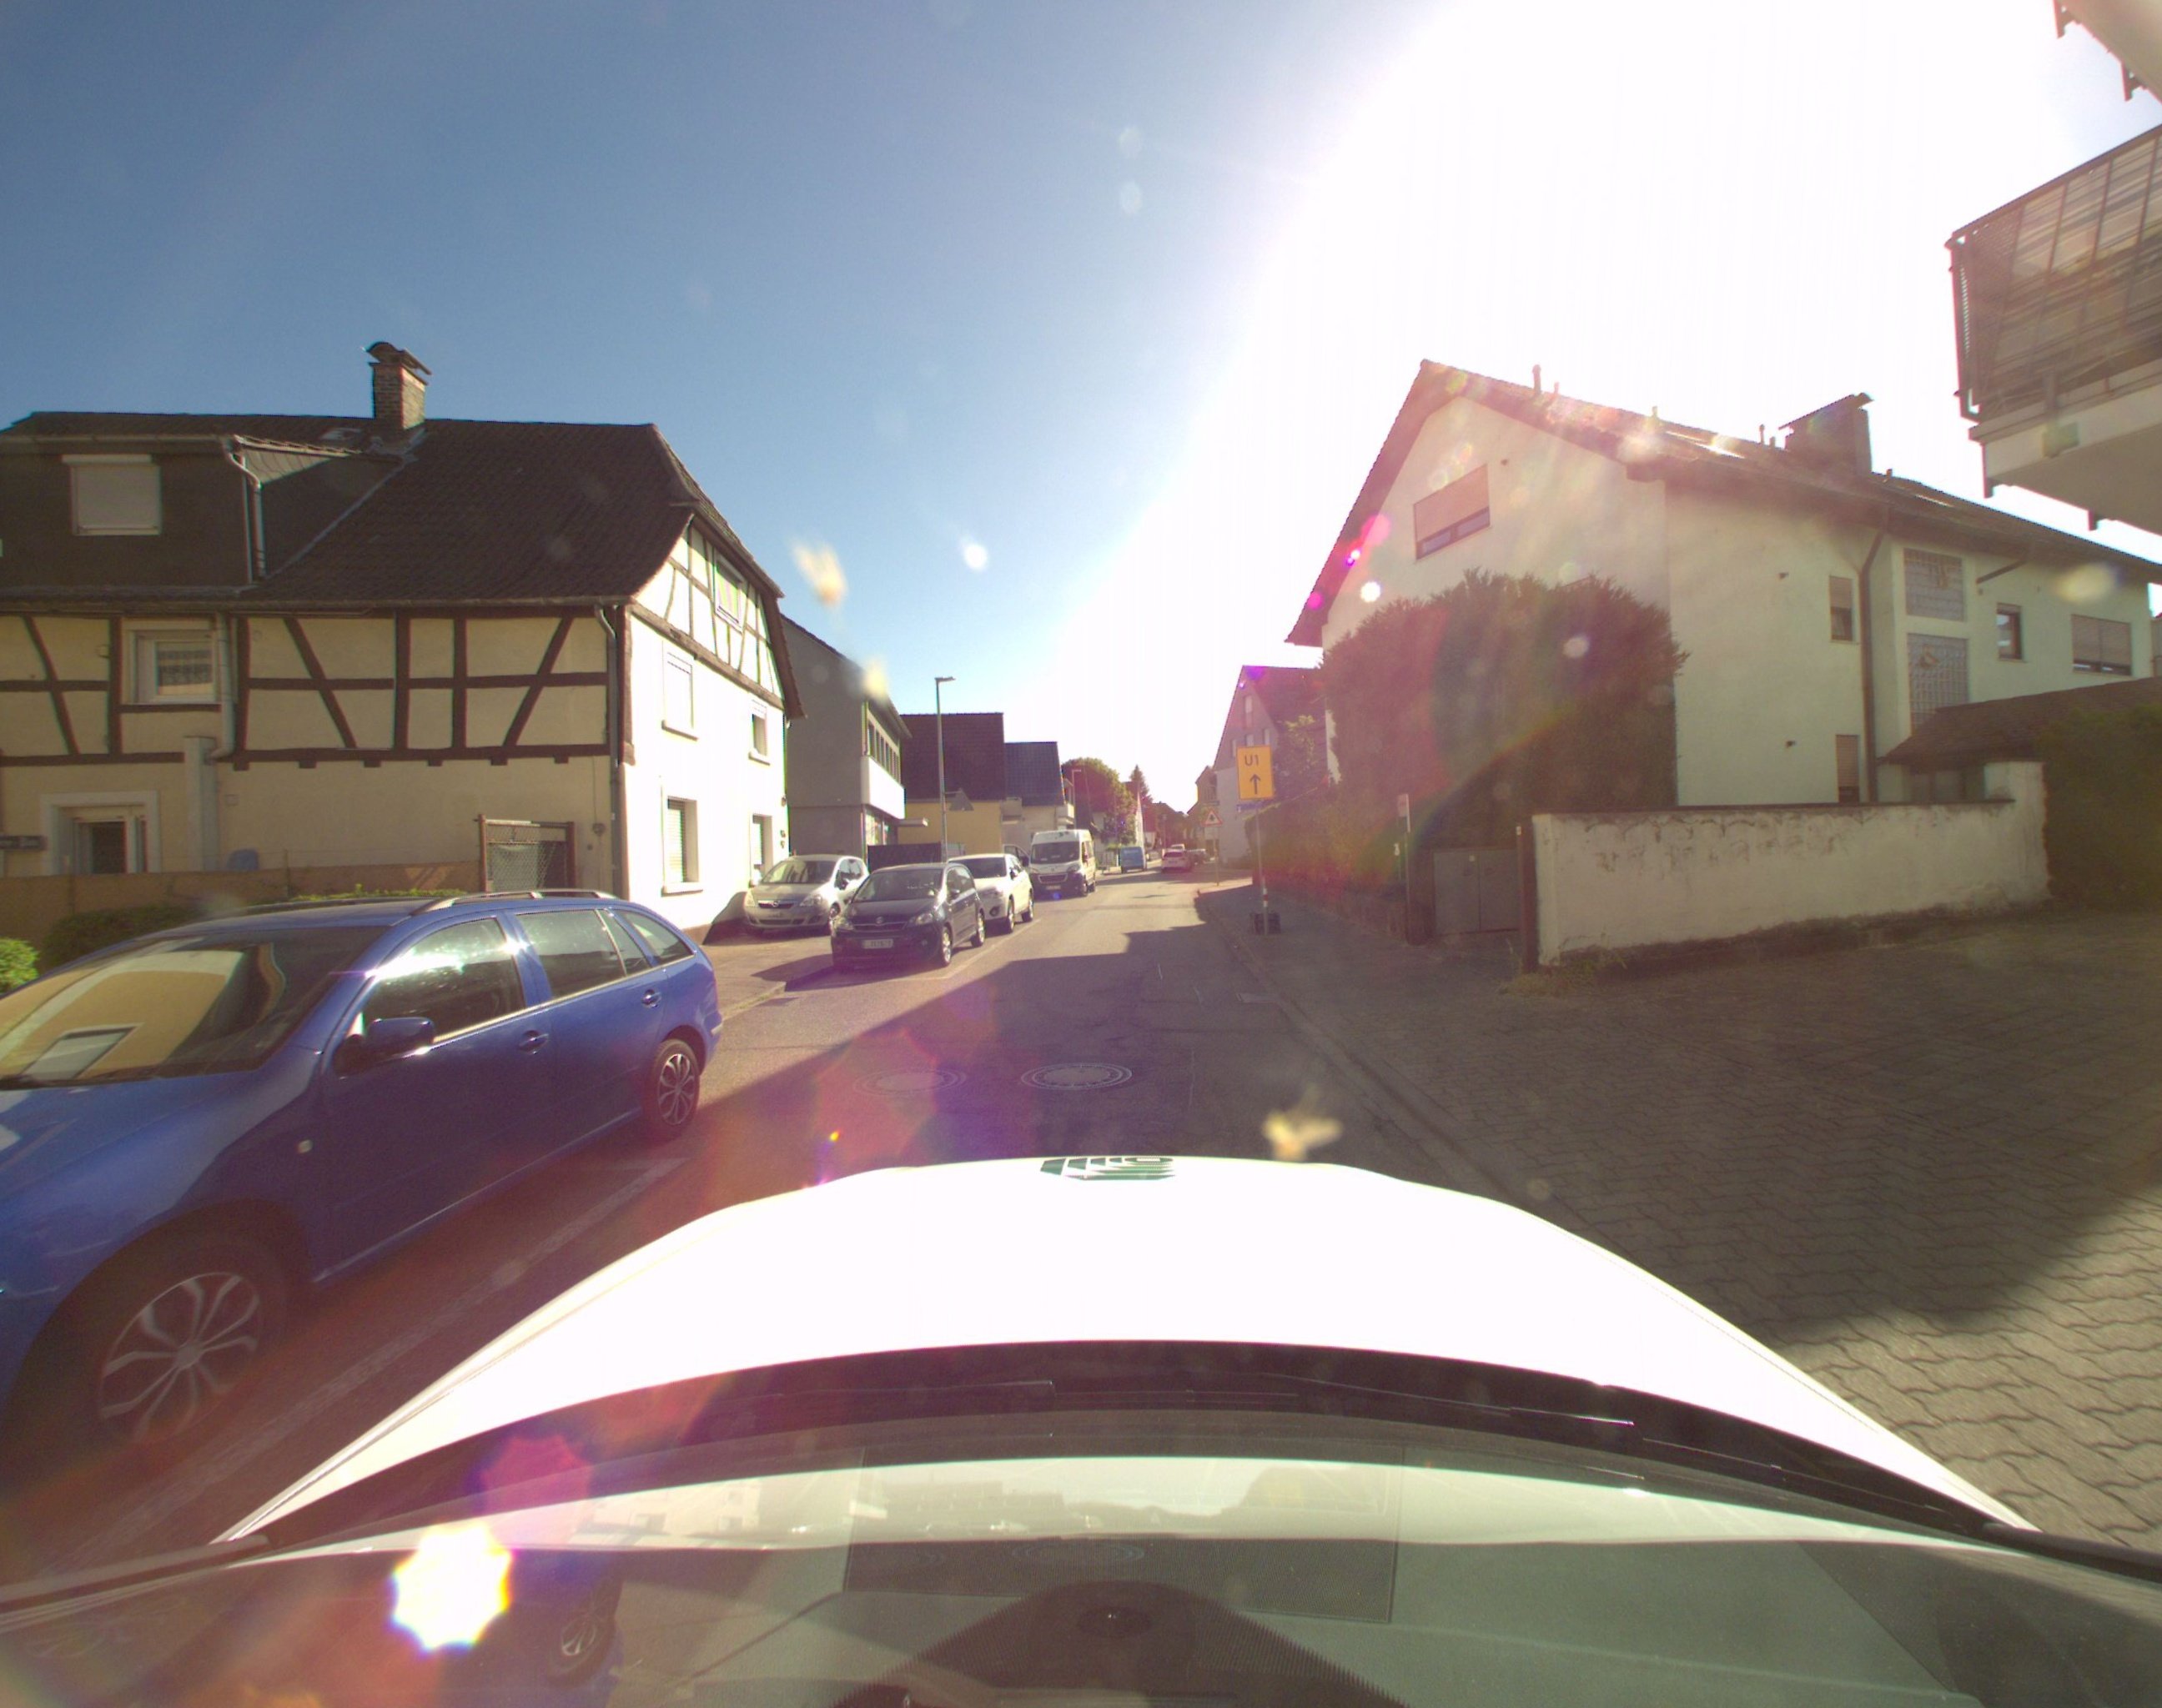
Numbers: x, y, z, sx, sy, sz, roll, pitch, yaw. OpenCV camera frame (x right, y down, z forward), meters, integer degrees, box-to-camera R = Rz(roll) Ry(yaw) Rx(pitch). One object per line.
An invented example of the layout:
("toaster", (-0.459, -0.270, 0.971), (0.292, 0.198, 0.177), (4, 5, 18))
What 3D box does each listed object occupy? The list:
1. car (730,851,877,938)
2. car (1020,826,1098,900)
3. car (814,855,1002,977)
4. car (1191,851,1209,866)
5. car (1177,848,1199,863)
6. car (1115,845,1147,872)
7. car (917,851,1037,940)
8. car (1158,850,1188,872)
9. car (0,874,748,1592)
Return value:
("car", (-5.647, 0.742, 17.126), (1.716, 1.596, 4.015), (0, 0, -1))
("car", (-0.696, 0.314, 30.434), (2.066, 2.394, 5.217), (-4, 0, 6))
("car", (-2.537, 0.843, 13.013), (1.695, 1.518, 4.127), (-4, 0, 5))
("car", (13.530, 0.533, 92.429), (1.918, 1.571, 4.011), (-1, -2, 10))
("car", (10.831, 0.151, 82.133), (1.832, 1.413, 4.012), (-1, -2, 12))
("car", (3.721, 0.284, 60.813), (1.915, 1.801, 4.778), (-4, 1, -1))
("car", (-2.068, 0.778, 17.367), (1.666, 1.572, 3.970), (-4, 0, 4))
("car", (6.202, 0.516, 55.189), (1.836, 1.413, 4.003), (-1, -2, 3))
("car", (-3.102, 0.890, 3.398), (1.633, 1.441, 4.075), (-3, -1, 0))
